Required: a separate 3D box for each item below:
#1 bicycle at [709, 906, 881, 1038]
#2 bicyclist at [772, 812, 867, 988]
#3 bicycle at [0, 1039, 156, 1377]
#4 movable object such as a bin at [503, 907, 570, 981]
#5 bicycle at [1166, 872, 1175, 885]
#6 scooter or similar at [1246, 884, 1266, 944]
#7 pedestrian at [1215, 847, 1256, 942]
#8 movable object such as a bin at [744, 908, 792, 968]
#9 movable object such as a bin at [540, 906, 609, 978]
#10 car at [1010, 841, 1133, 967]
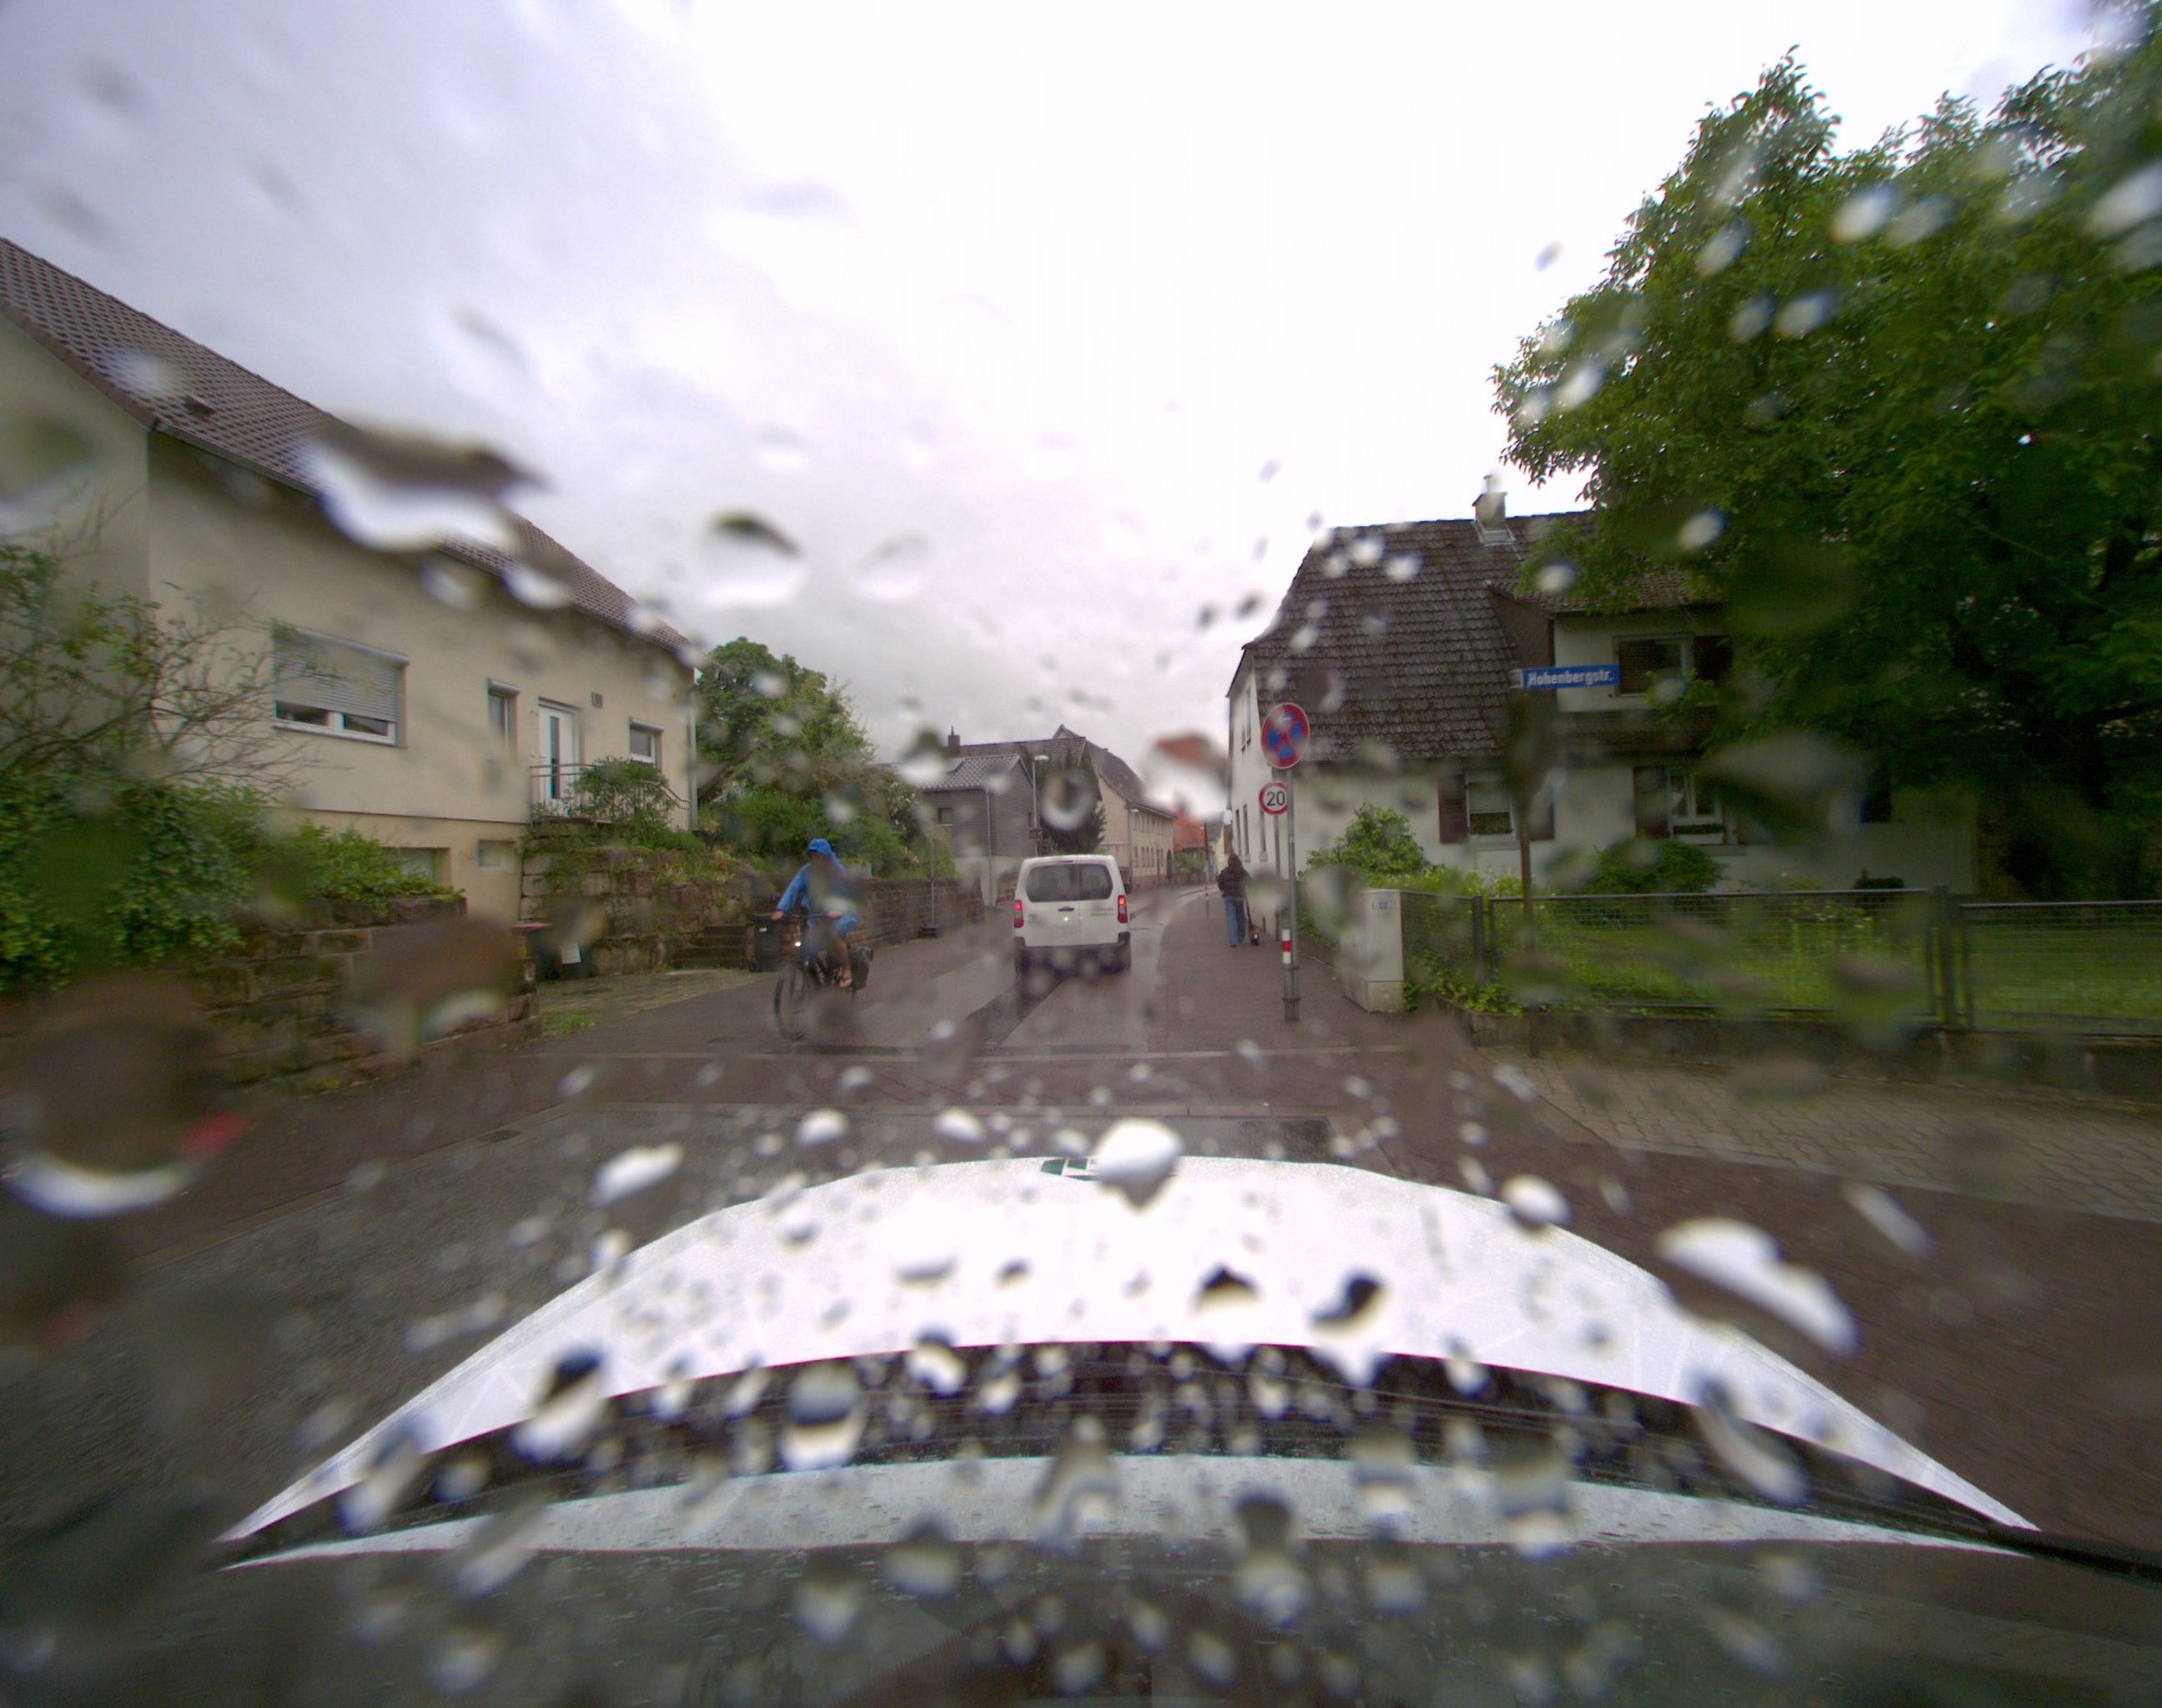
[{"bbox_3d":[-2.777,1.097,8.239,0.677,1.051,2.343,-1,-2,7],"label":"bicycle"},{"bbox_3d":[-2.654,0.457,8.321,0.684,1.713,0.704,-1,-2,6],"label":"bicyclist"},{"bbox_3d":[-3.462,1.055,1.723,0.658,0.870,1.938,-1,0,7],"label":"bicycle"},{"bbox_3d":[-8.814,1.439,13.191,0.602,1.107,0.652,-1,0,12],"label":"movable object such as a bin"},{"bbox_3d":[8.619,2.332,77.961,0.479,1.180,1.843,-2,-2,18],"label":"bicycle"},{"bbox_3d":[3.263,1.102,15.203,0.244,1.028,1.102,-1,-1,6],"label":"scooter or similar"},{"bbox_3d":[2.884,0.748,15.280,0.691,1.732,0.822,-1,-1,6],"label":"pedestrian"},{"bbox_3d":[-5.052,1.351,13.172,0.535,0.930,0.545,-1,-2,4],"label":"movable object such as a bin"},{"bbox_3d":[-8.153,1.407,13.130,0.618,1.063,0.657,-1,1,7],"label":"movable object such as a bin"},{"bbox_3d":[-0.053,0.793,13.865,1.788,1.819,4.103,-1,-2,2],"label":"car"}]
